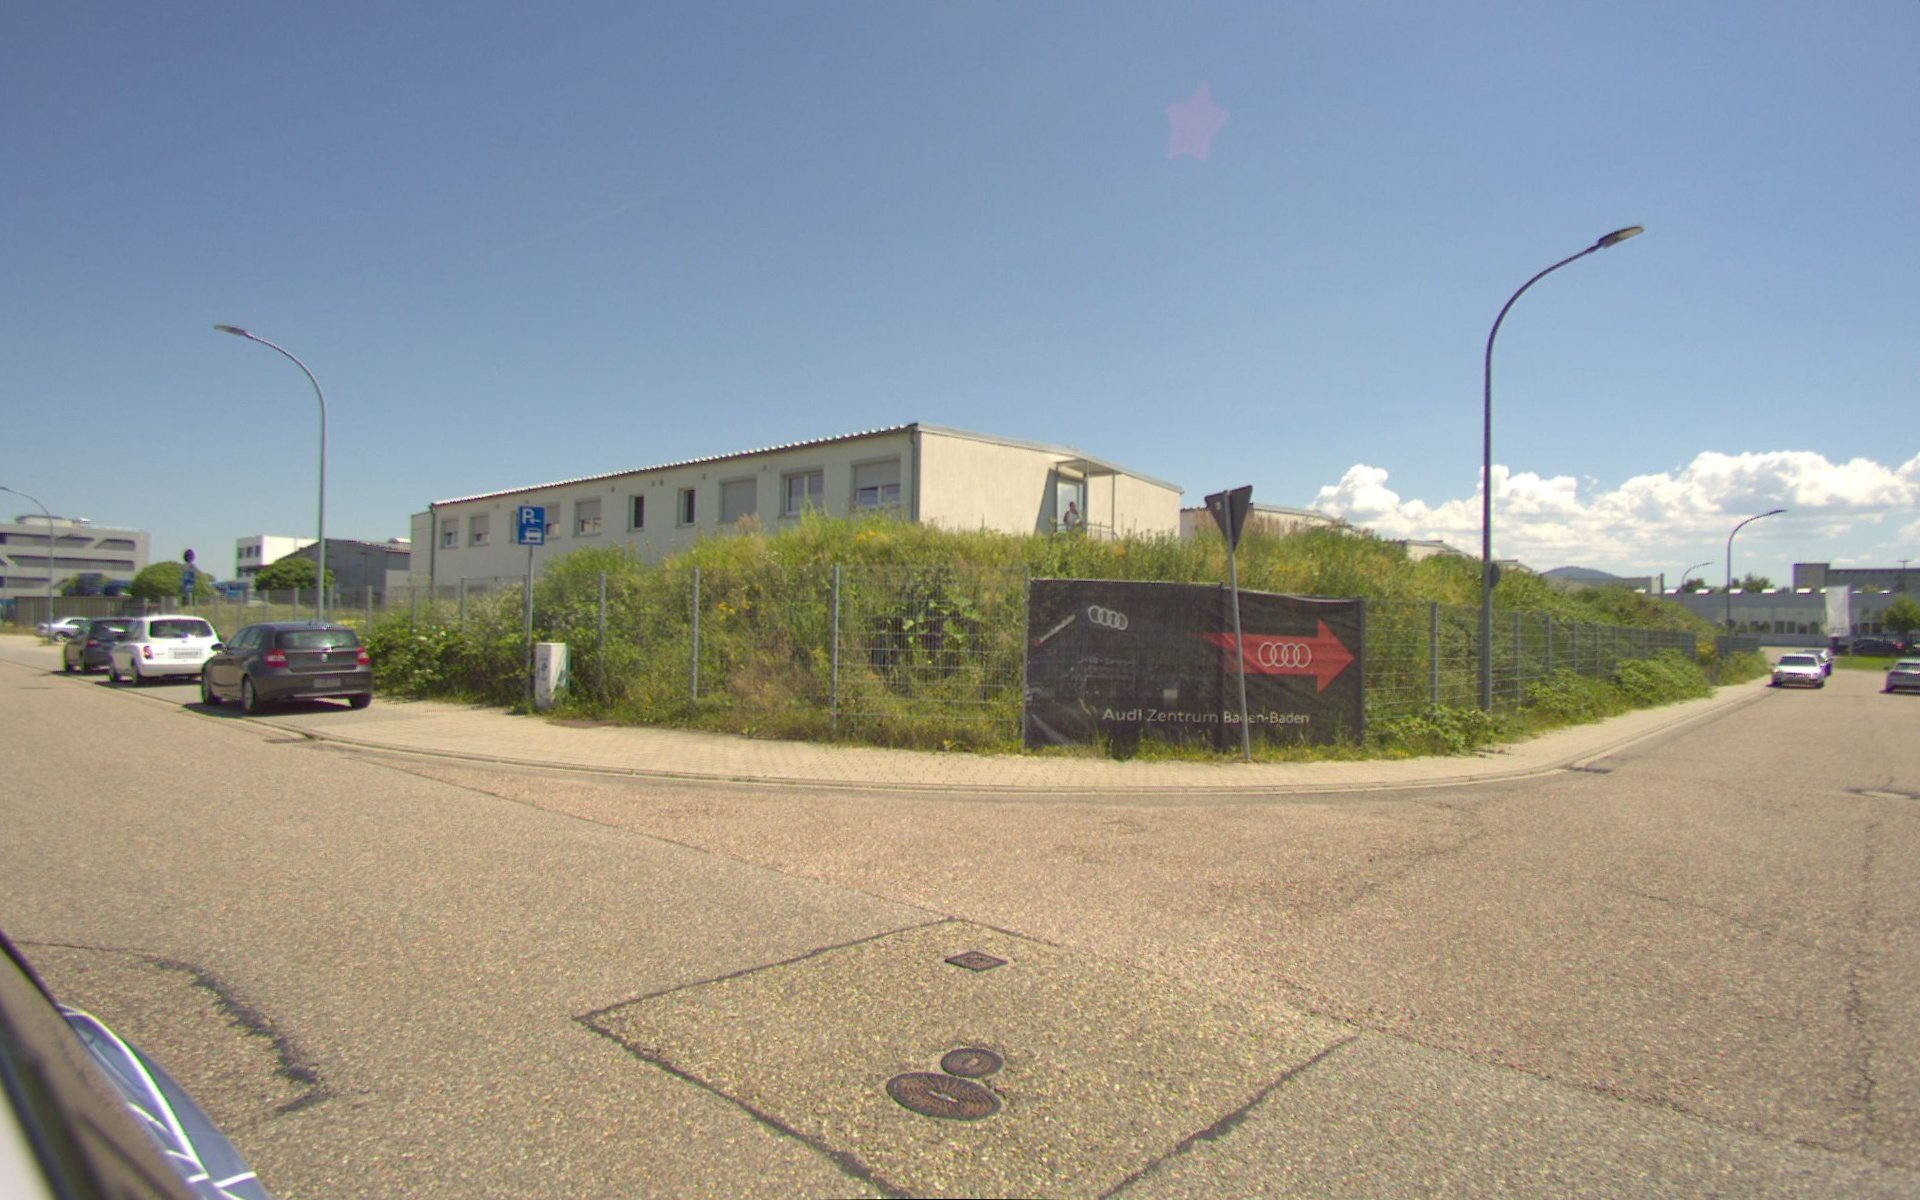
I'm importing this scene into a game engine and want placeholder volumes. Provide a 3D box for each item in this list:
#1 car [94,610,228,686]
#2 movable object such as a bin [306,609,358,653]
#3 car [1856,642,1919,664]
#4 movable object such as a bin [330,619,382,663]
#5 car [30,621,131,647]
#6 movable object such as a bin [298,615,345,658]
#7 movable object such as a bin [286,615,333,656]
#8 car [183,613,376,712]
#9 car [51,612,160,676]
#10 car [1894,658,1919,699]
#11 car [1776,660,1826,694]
[{"bbox_3d":[-18.245,1.055,23.059,3.756,1.541,1.656,1,-2,41],"label":"car"},{"bbox_3d":[-21.846,1.074,35.227,1.386,1.459,1.078,1,-1,36],"label":"movable object such as a bin"},{"bbox_3d":[79.522,4.510,86.705,3.997,1.608,1.779,1,1,41],"label":"car"},{"bbox_3d":[-20.441,1.361,34.246,1.388,1.416,1.130,1,-1,43],"label":"movable object such as a bin"},{"bbox_3d":[-51.210,2.001,58.989,1.862,1.390,4.201,0,-2,42],"label":"car"},{"bbox_3d":[-22.884,1.301,36.258,1.372,1.459,1.112,0,-1,44],"label":"movable object such as a bin"},{"bbox_3d":[-23.984,1.306,37.319,1.434,1.459,1.130,0,-1,44],"label":"movable object such as a bin"},{"bbox_3d":[-11.414,0.992,16.882,4.067,1.462,1.656,-2,-3,41],"label":"car"},{"bbox_3d":[-23.038,1.134,27.244,3.908,1.541,1.656,1,-1,41],"label":"car"},{"bbox_3d":[39.229,3.189,41.137,1.697,1.573,3.785,1,-2,40],"label":"car"},{"bbox_3d":[37.694,3.425,45.377,1.656,1.311,3.946,1,-2,40],"label":"car"}]
